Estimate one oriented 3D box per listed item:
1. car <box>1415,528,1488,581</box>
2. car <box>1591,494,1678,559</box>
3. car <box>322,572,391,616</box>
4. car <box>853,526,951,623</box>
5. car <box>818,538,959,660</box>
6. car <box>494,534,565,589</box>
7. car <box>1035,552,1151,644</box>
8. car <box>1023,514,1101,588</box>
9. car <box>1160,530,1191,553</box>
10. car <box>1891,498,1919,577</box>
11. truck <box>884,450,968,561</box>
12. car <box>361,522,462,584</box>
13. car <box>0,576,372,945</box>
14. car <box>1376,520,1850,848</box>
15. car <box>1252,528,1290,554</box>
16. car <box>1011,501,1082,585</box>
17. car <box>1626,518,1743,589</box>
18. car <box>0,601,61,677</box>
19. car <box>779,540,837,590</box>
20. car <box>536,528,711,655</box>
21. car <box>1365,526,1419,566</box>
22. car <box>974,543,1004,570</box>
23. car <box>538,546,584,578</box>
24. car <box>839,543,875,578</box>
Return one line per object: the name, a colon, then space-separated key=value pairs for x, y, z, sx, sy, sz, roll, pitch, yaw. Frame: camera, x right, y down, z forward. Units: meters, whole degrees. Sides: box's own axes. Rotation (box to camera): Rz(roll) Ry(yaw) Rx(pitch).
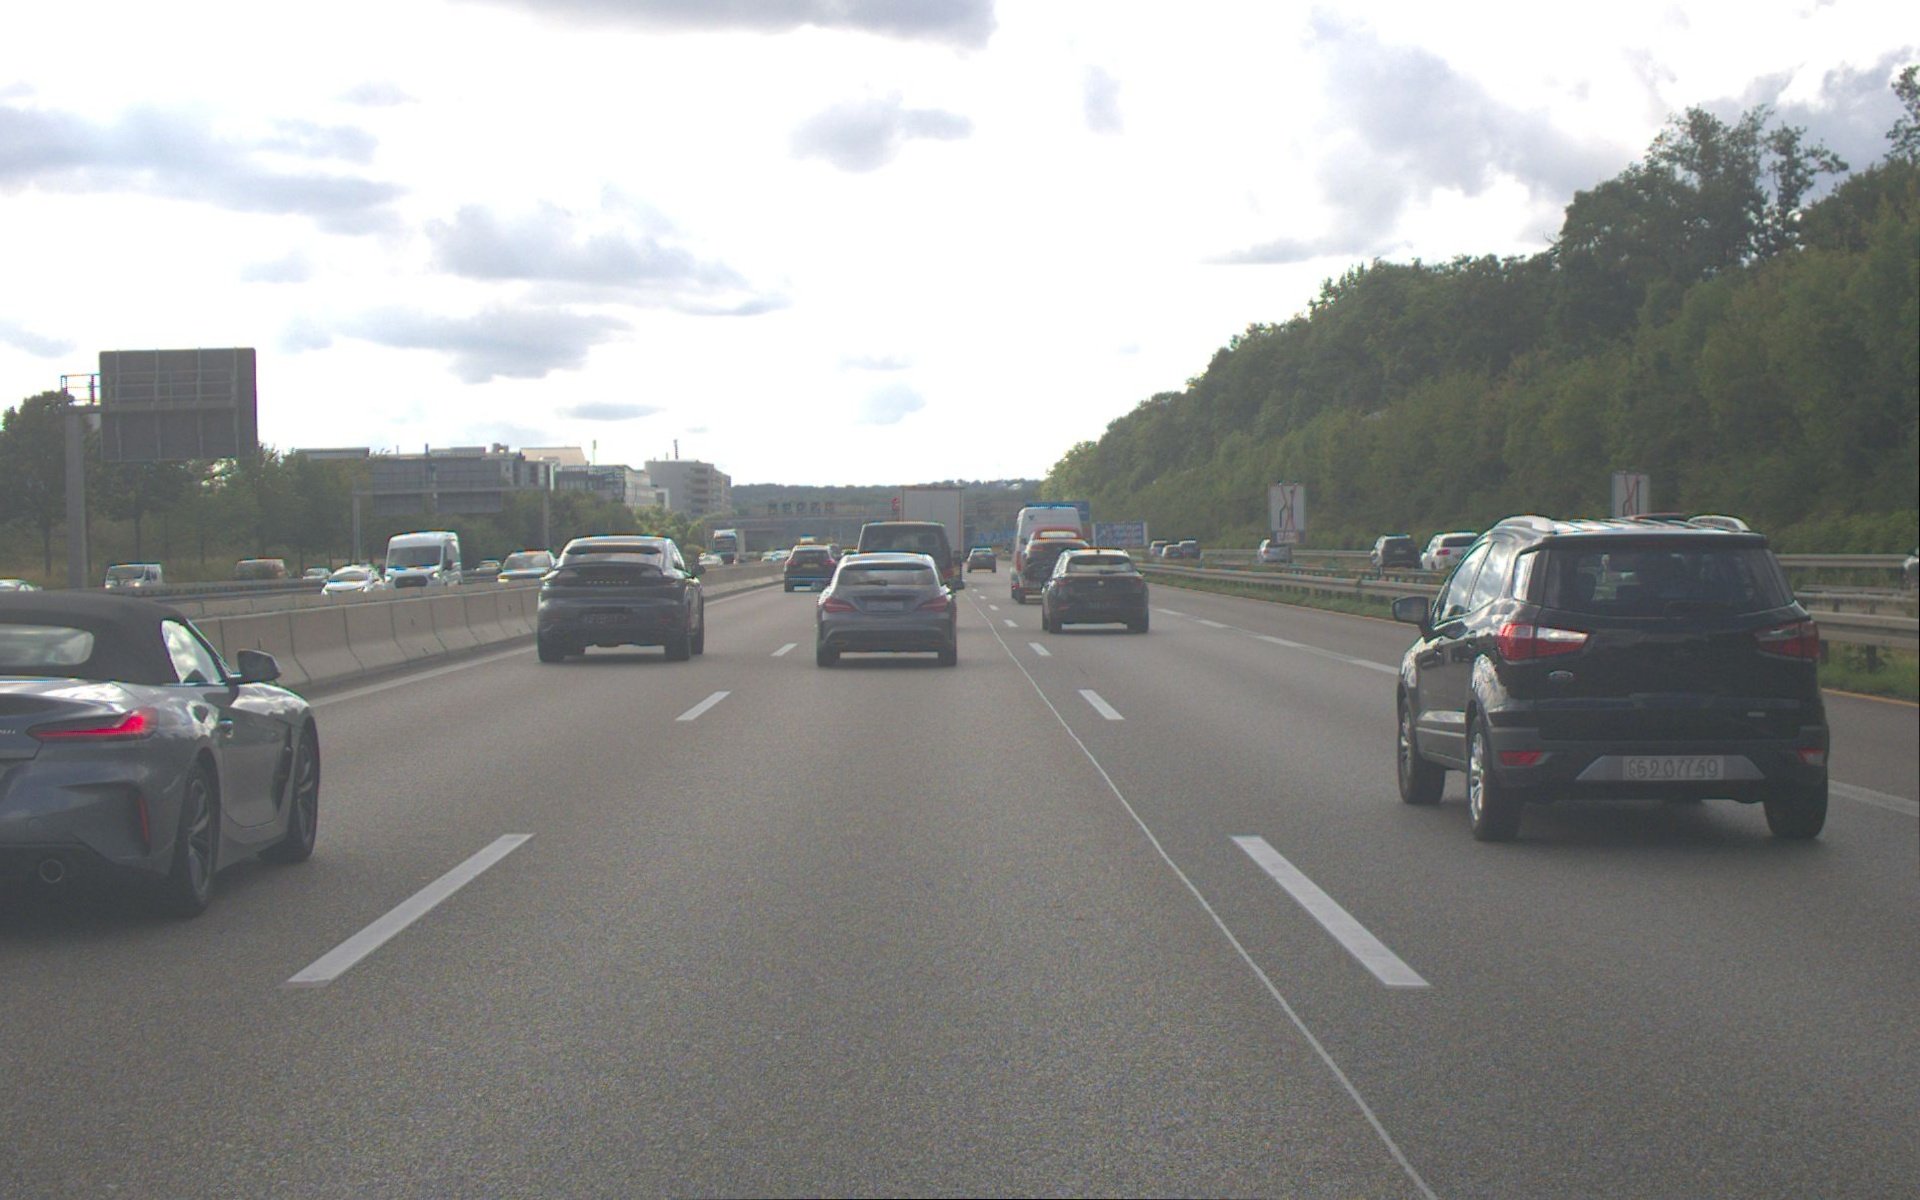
car: x=16.042 y=-1.494 z=112.380 sx=1.752 sy=1.689 sz=4.190 roll=0 pitch=1 yaw=-1
car: x=19.110 y=-2.070 z=97.526 sx=1.595 sy=1.797 sz=3.825 roll=0 pitch=1 yaw=-2
car: x=-21.876 y=-0.239 z=124.745 sx=1.725 sy=1.524 sz=4.866 roll=0 pitch=1 yaw=-1
car: x=-1.056 y=-0.500 z=63.343 sx=1.720 sy=1.718 sz=4.392 roll=0 pitch=1 yaw=-1
car: x=-0.894 y=-0.052 z=44.390 sx=1.720 sy=1.474 sz=4.392 roll=0 pitch=1 yaw=-1
car: x=-13.891 y=-1.250 z=111.150 sx=1.763 sy=1.725 sz=4.703 roll=0 pitch=1 yaw=-1
car: x=2.314 y=-0.064 z=60.815 sx=1.832 sy=1.516 sz=4.225 roll=0 pitch=1 yaw=-1
car: x=2.689 y=-1.314 z=91.679 sx=1.913 sy=1.912 sz=4.031 roll=0 pitch=1 yaw=-1
car: x=14.672 y=-4.000 z=234.440 sx=1.729 sy=1.528 sz=4.453 roll=-1 pitch=1 yaw=-1
car: x=19.729 y=-1.246 z=67.160 sx=1.728 sy=1.540 sz=4.306 roll=-3 pitch=1 yaw=-2
truck: x=-1.391 y=-3.843 z=141.215 sx=3.263 sy=4.360 sz=11.027 roll=0 pitch=1 yaw=0
car: x=-18.047 y=-1.573 z=113.373 sx=2.355 sy=1.960 sz=5.834 roll=0 pitch=1 yaw=0
car: x=-3.947 y=0.585 z=15.228 sx=1.873 sy=1.298 sz=4.943 roll=0 pitch=1 yaw=-1
car: x=3.392 y=0.366 z=18.592 sx=1.697 sy=1.559 sz=4.114 roll=-1 pitch=1 yaw=-1
car: x=18.415 y=-3.501 z=203.918 sx=1.752 sy=1.511 sz=4.191 roll=0 pitch=1 yaw=-1
car: x=2.464 y=-1.638 z=98.745 sx=1.873 sy=2.349 sz=4.282 roll=0 pitch=1 yaw=-1
car: x=16.225 y=-1.055 z=77.175 sx=1.595 sy=1.540 sz=4.191 roll=0 pitch=1 yaw=-2
car: x=-21.224 y=0.830 z=75.515 sx=1.763 sy=1.527 sz=4.717 roll=-1 pitch=1 yaw=-1
car: x=-5.251 y=-1.215 z=119.260 sx=1.873 sy=1.692 sz=4.072 roll=-1 pitch=1 yaw=-1
car: x=-4.548 y=-0.168 z=47.233 sx=1.912 sy=1.630 sz=5.500 roll=0 pitch=1 yaw=-1
car: x=18.665 y=-2.330 z=148.583 sx=1.752 sy=1.689 sz=4.190 roll=0 pitch=1 yaw=-1
car: x=1.774 y=-2.696 z=212.685 sx=1.752 sy=1.689 sz=4.190 roll=0 pitch=1 yaw=-1
car: x=-17.907 y=-1.698 z=154.549 sx=1.637 sy=1.398 sz=4.492 roll=0 pitch=1 yaw=-1
car: x=-4.928 y=-1.909 z=164.752 sx=1.697 sy=1.605 sz=4.114 roll=-1 pitch=1 yaw=-1
